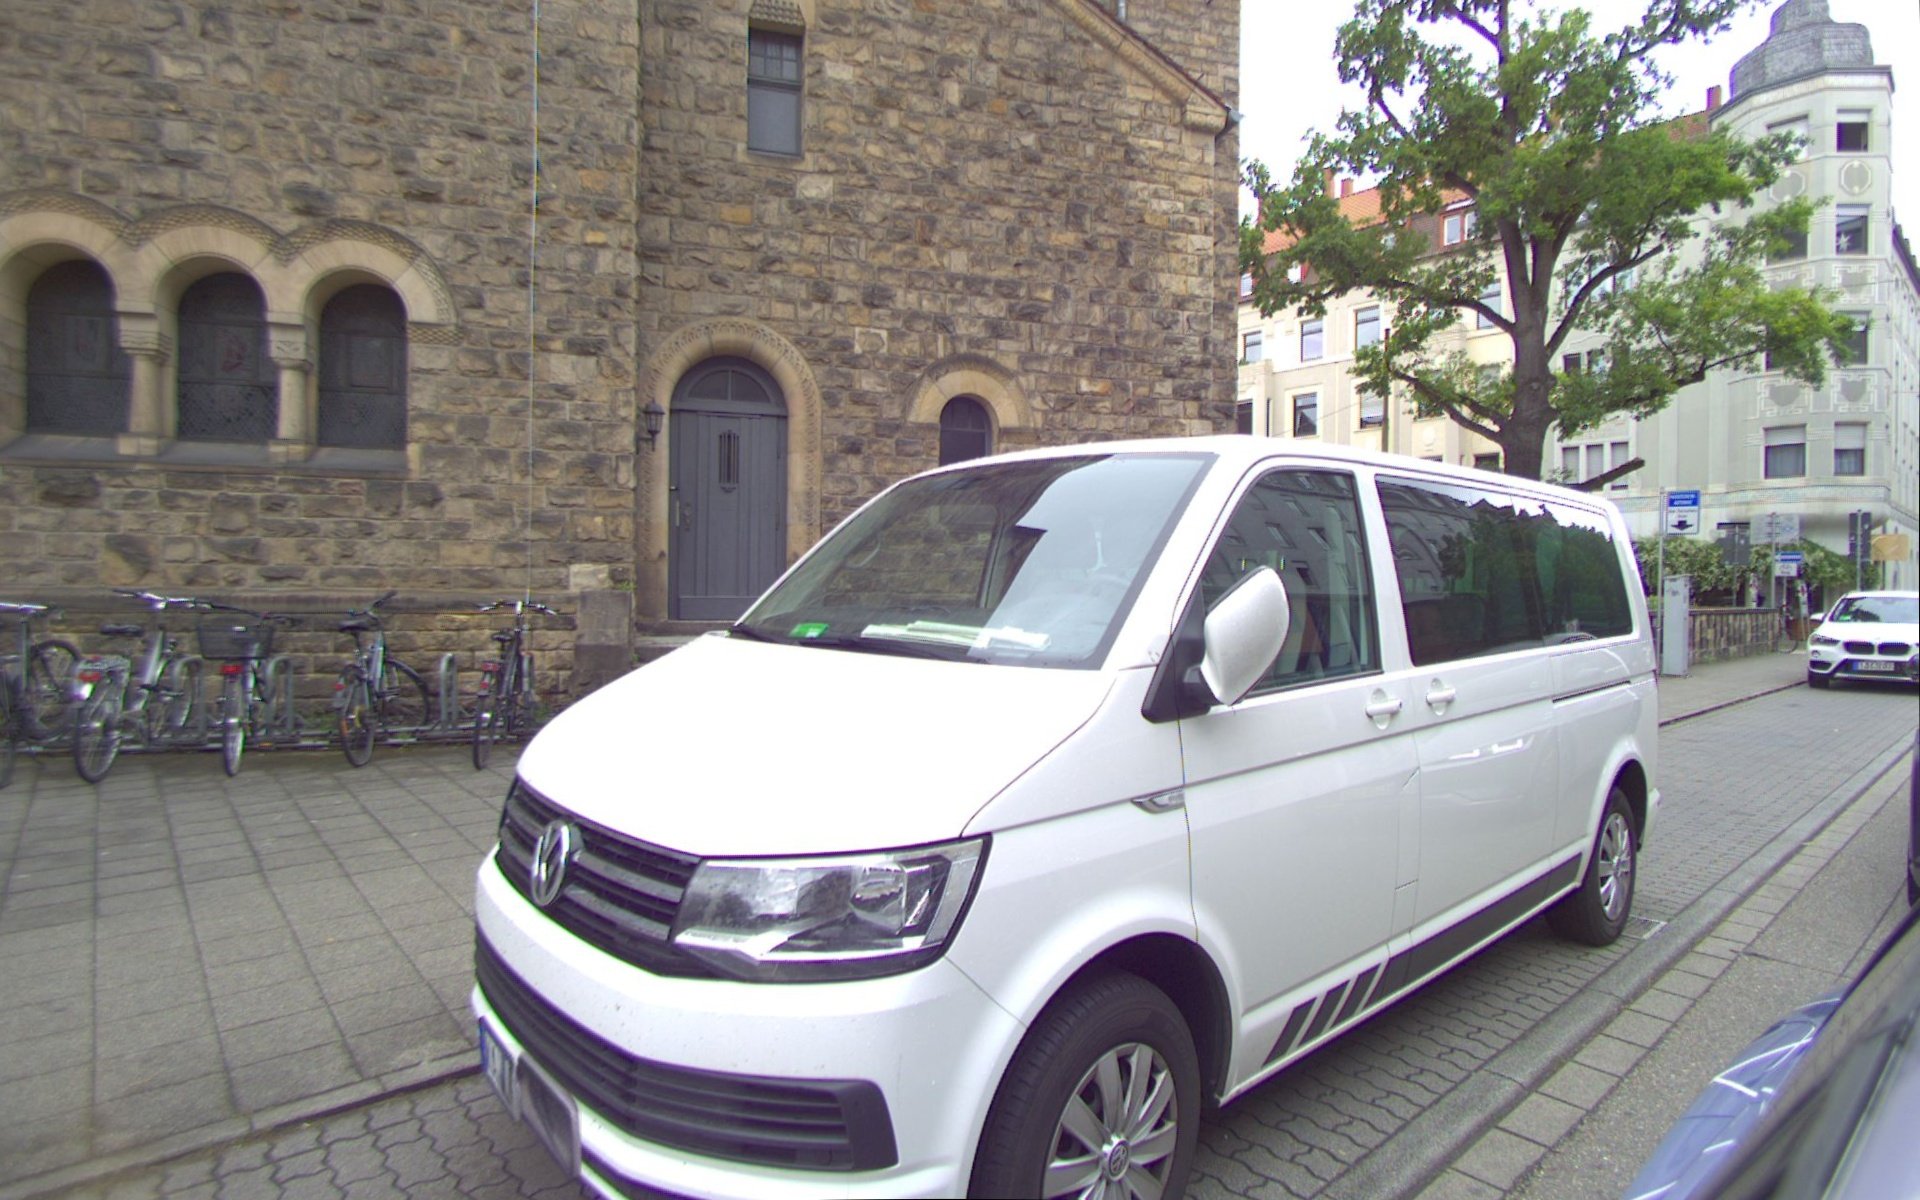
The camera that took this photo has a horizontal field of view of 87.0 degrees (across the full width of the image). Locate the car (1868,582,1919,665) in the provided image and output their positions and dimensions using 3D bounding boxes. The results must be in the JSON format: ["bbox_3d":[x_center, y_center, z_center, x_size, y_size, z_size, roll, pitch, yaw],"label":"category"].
[{"bbox_3d":[19.900,0.457,20.461,3.930,1.585,1.818,0,1,-41],"label":"car"}]

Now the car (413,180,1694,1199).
[{"bbox_3d":[1.001,0.383,3.768,5.075,1.944,1.807,0,1,-42],"label":"car"}]

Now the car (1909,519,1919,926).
[{"bbox_3d":[6.070,0.523,4.853,3.930,1.706,1.818,0,1,-41],"label":"car"}]

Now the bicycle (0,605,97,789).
[{"bbox_3d":[-6.014,0.581,6.429,0.304,1.073,1.386,0,0,-18],"label":"bicycle"}]

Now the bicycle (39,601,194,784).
[{"bbox_3d":[-5.590,0.555,6.770,0.304,1.073,1.386,0,0,-18],"label":"bicycle"}]

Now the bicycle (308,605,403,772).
[{"bbox_3d":[-4.365,0.589,7.365,0.304,1.073,1.346,0,0,-18],"label":"bicycle"}]

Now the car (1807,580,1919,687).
[{"bbox_3d":[15.451,0.495,16.580,3.930,1.585,1.818,0,1,-41],"label":"car"}]

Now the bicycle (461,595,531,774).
[{"bbox_3d":[-3.329,0.548,7.304,0.304,1.161,1.346,0,0,-18],"label":"bicycle"}]

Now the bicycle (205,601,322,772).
[{"bbox_3d":[-4.926,0.558,7.212,0.304,1.073,1.386,0,0,-18],"label":"bicycle"}]
